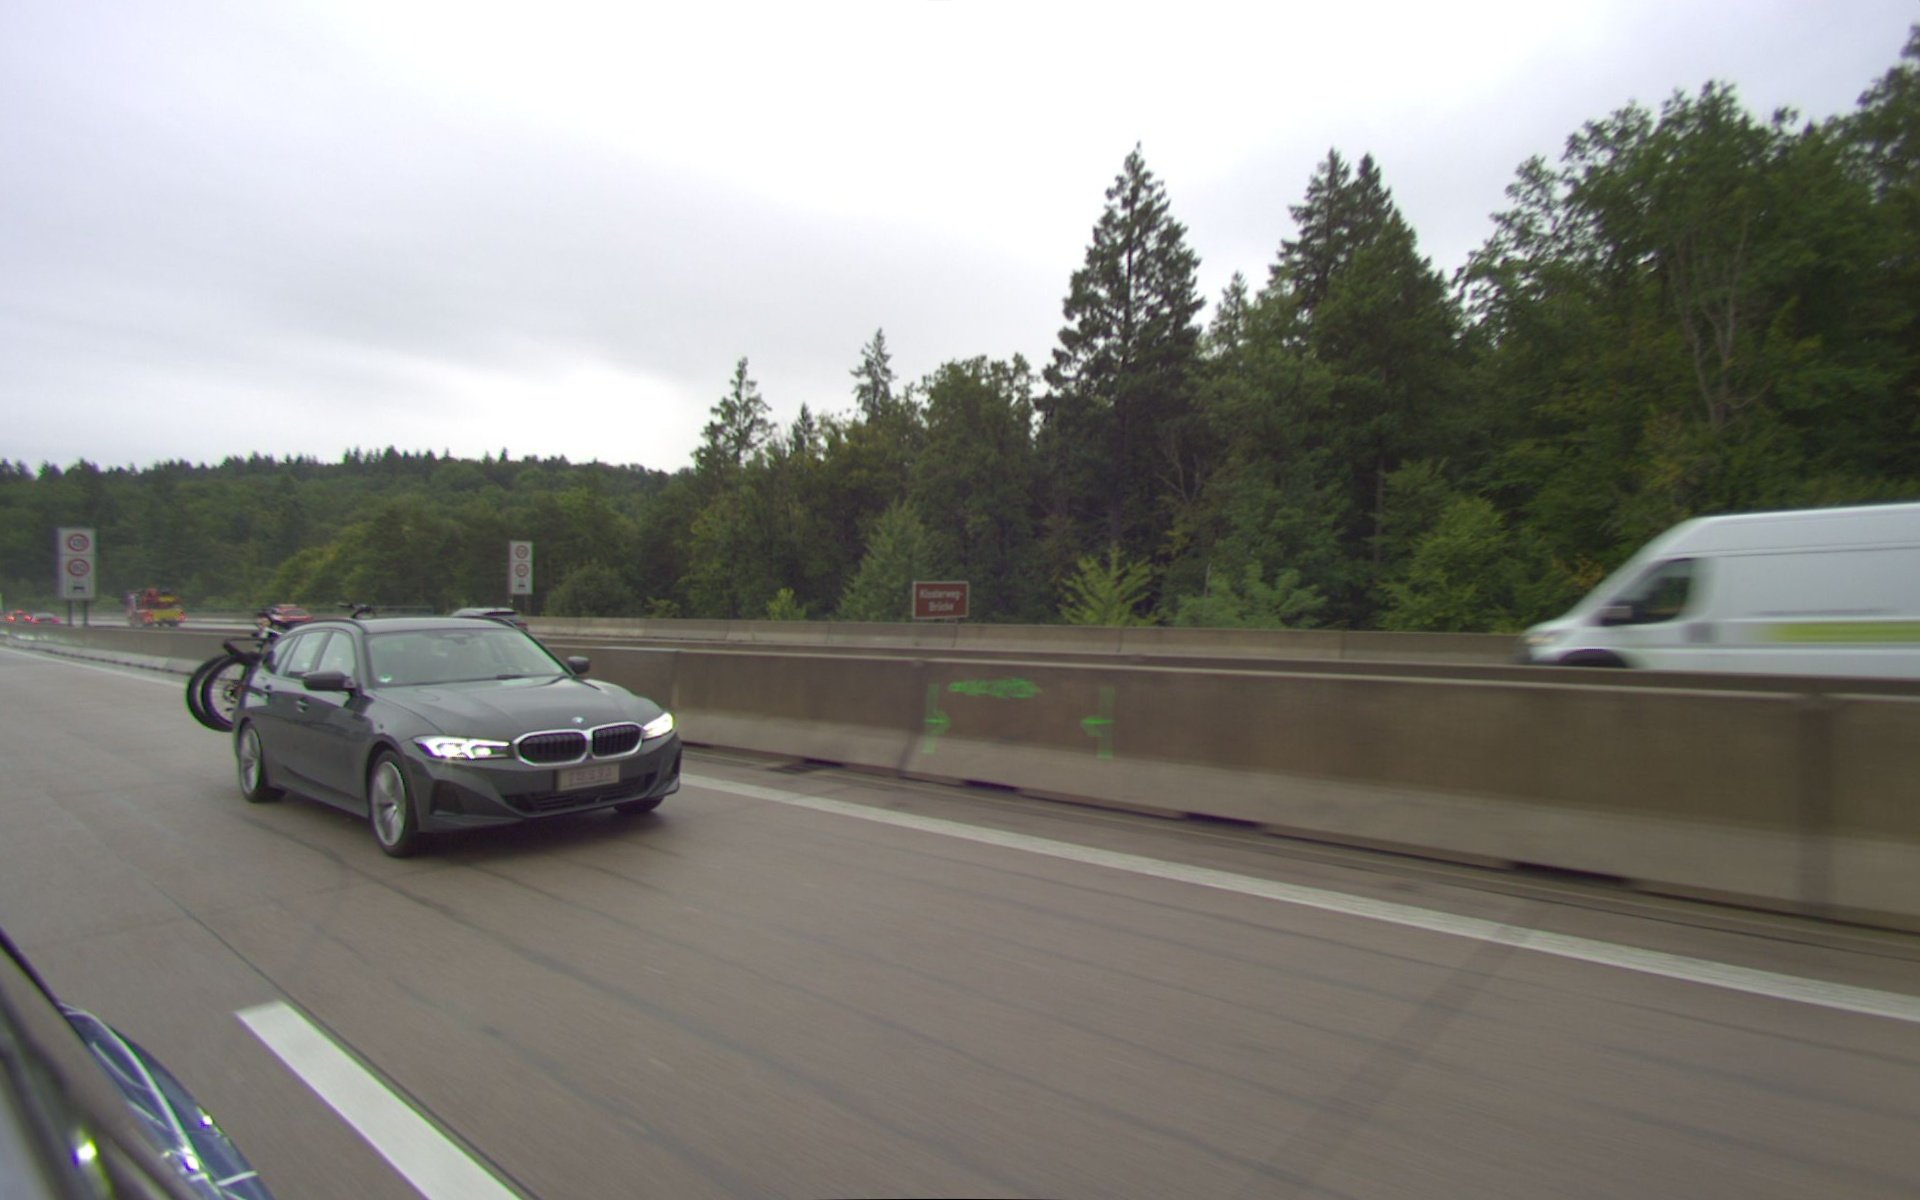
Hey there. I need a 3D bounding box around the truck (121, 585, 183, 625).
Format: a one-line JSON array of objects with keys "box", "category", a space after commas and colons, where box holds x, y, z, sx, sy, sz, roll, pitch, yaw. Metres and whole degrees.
[{"box": [-68.916, 0.473, 86.213, 10.659, 3.198, 2.406, -1, 0, 42], "category": "truck"}]

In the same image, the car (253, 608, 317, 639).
[{"box": [-39.707, 1.380, 59.513, 4.972, 1.712, 1.972, -1, -1, 42], "category": "car"}]

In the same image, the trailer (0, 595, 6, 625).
[{"box": [-137.702, 1.505, 142.793, 13.778, 4.063, 2.916, -1, 0, 41], "category": "trailer"}]

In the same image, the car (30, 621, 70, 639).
[{"box": [-74.209, 2.443, 82.497, 4.750, 1.401, 1.972, -1, 0, 42], "category": "car"}]

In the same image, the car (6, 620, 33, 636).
[{"box": [-101.374, 3.035, 109.088, 4.266, 1.590, 1.687, -1, 0, 42], "category": "car"}]

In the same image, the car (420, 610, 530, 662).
[{"box": [-15.921, 1.132, 33.103, 4.641, 1.565, 1.591, -1, -1, 42], "category": "car"}]

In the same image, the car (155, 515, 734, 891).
[{"box": [-4.454, 0.589, 8.023, 6.158, 1.959, 1.888, -1, -1, 41], "category": "car"}]

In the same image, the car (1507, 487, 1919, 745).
[{"box": [9.698, 0.155, 10.555, 6.742, 2.467, 1.973, -1, -1, 41], "category": "car"}]
